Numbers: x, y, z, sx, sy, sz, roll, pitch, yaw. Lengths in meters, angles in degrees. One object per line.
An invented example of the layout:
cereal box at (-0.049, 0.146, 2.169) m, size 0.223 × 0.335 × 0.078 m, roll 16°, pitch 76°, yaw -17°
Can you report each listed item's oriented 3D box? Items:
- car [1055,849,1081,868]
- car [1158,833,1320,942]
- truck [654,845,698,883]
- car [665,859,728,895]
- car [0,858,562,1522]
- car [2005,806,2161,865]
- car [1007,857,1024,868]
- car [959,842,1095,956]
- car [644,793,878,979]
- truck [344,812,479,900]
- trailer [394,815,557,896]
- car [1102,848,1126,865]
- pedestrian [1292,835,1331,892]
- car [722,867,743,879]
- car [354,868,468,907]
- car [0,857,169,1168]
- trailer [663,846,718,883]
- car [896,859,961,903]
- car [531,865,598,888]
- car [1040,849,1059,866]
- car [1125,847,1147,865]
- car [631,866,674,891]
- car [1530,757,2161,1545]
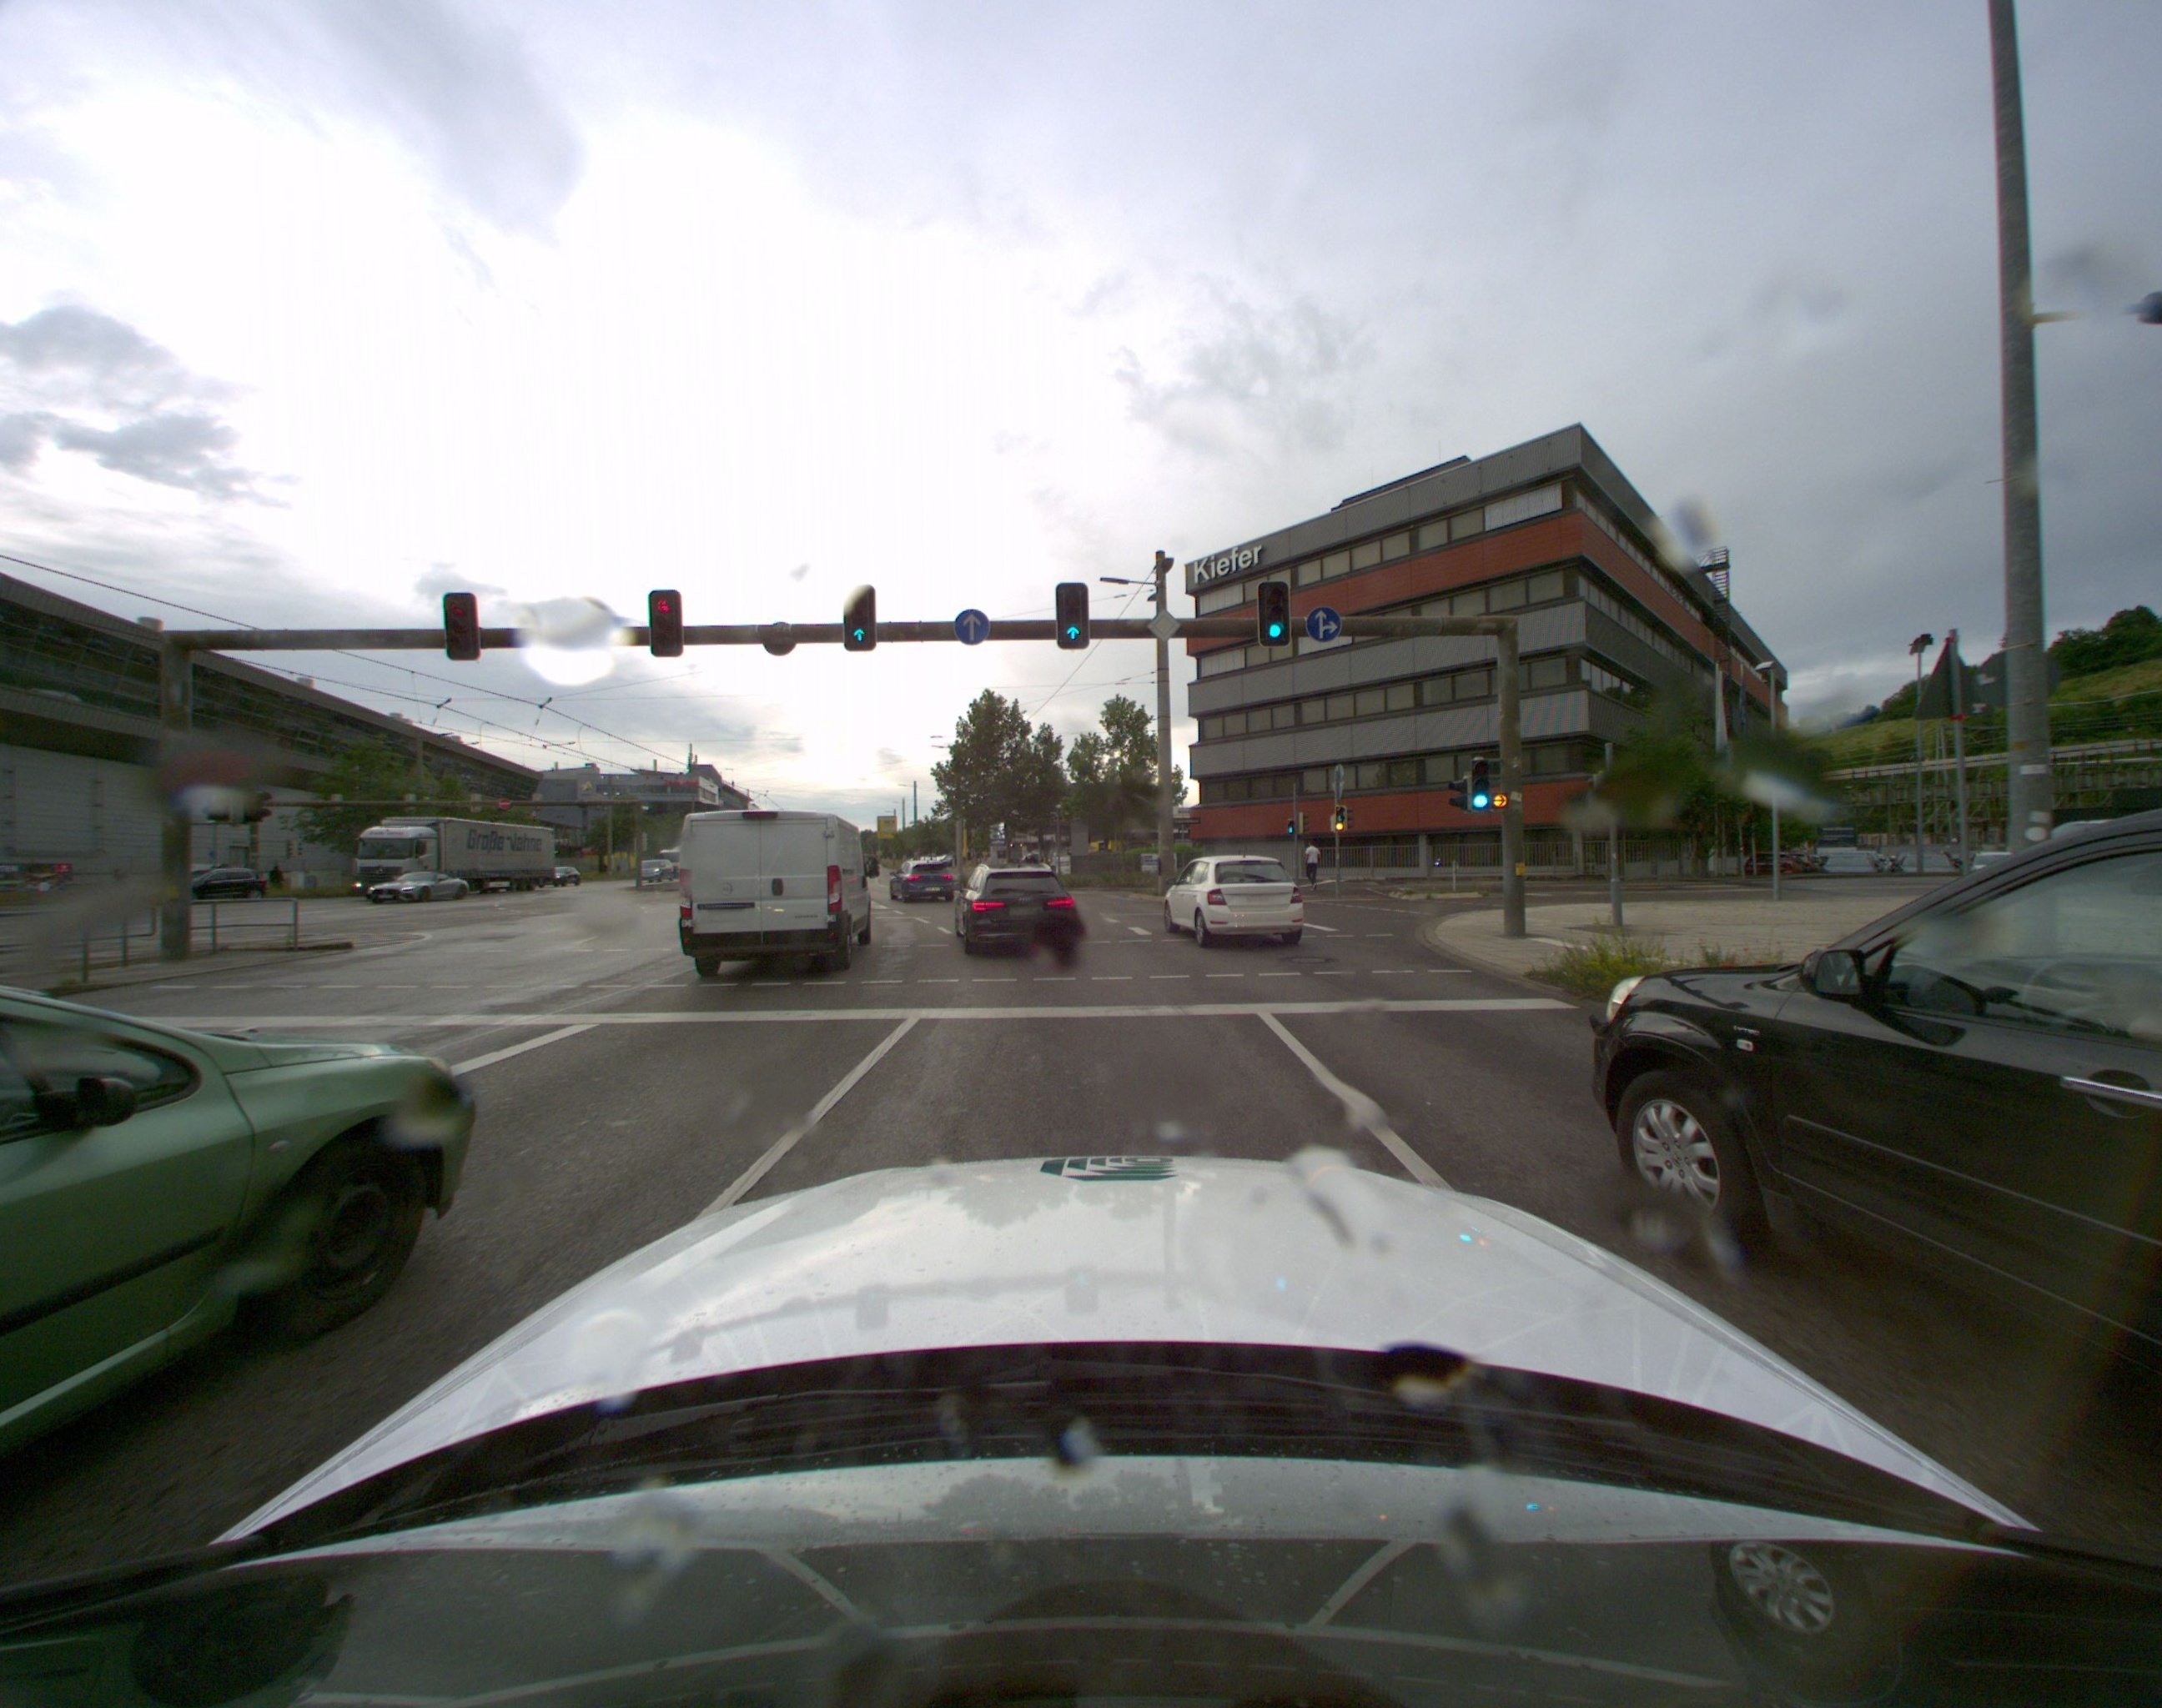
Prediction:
car at (-1.475, 0.511, 90.310) m, size 1.997 × 2.032 × 3.979 m, roll -2°, pitch 0°, yaw -15°
car at (2.624, 0.556, 14.516) m, size 1.826 × 1.656 × 3.993 m, roll 0°, pitch -1°, yaw -5°
truck at (-43.098, 1.124, 86.769) m, size 2.747 × 3.805 × 5.390 m, roll -2°, pitch -1°, yaw -11°
car at (-23.050, 1.316, 49.036) m, size 1.768 × 2.013 × 4.345 m, roll 1°, pitch 0°, yaw -1°
car at (-3.249, 0.738, 1.514) m, size 1.689 × 1.468 × 4.402 m, roll 1°, pitch -1°, yaw 0°
car at (35.600, -0.603, 27.904) m, size 5.033 × 1.916 × 2.006 m, roll 0°, pitch -2°, yaw 11°
car at (-9.853, 1.271, 121.847) m, size 1.795 × 1.591 × 3.978 m, roll -1°, pitch 0°, yaw -16°
car at (-1.066, 0.686, 14.199) m, size 1.992 × 1.637 × 3.989 m, roll -2°, pitch -1°, yaw -8°
car at (-4.589, 0.422, 12.643) m, size 2.445 × 2.294 × 4.887 m, roll 0°, pitch -1°, yaw -10°
truck at (-33.912, 0.144, 41.547) m, size 2.668 × 4.130 × 6.161 m, roll -1°, pitch -1°, yaw -11°
trailer at (-35.329, 0.202, 48.374) m, size 2.652 × 4.125 × 12.690 m, roll -1°, pitch -1°, yaw -12°
car at (4.122, 0.326, 102.300) m, size 1.876 × 2.014 × 3.749 m, roll 2°, pitch -1°, yaw -19°
pedestrian at (8.965, 0.356, 31.721) m, size 1.139 × 2.125 × 1.223 m, roll -2°, pitch 1°, yaw 1°
car at (-46.728, 2.579, 109.344) m, size 2.164 × 1.505 × 4.275 m, roll -1°, pitch 0°, yaw -18°
car at (-29.776, 1.456, 36.395) m, size 1.903 × 1.555 × 4.549 m, roll 1°, pitch -1°, yaw -10°
car at (-6.504, 0.798, 2.850) m, size 1.719 × 1.592 × 4.196 m, roll 1°, pitch -1°, yaw 3°
trailer at (-44.213, 1.196, 92.516) m, size 2.726 × 3.854 × 11.186 m, roll -2°, pitch -1°, yaw -11°
car at (-5.589, 0.937, 29.503) m, size 1.898 × 1.465 × 3.887 m, roll 0°, pitch -1°, yaw -17°
car at (-39.566, 1.705, 62.413) m, size 4.589 × 1.609 × 2.011 m, roll -2°, pitch 0°, yaw 21°
car at (-3.843, 0.442, 99.169) m, size 1.681 × 2.014 × 3.525 m, roll 1°, pitch -1°, yaw -14°
car at (6.329, 0.281, 93.891) m, size 1.678 × 2.014 × 3.121 m, roll 2°, pitch -1°, yaw -15°
car at (-36.685, 2.033, 69.850) m, size 1.995 × 1.837 × 4.888 m, roll 2°, pitch 1°, yaw -12°
car at (3.125, 0.630, 1.919) m, size 1.760 × 1.630 × 4.324 m, roll 1°, pitch -1°, yaw 0°
